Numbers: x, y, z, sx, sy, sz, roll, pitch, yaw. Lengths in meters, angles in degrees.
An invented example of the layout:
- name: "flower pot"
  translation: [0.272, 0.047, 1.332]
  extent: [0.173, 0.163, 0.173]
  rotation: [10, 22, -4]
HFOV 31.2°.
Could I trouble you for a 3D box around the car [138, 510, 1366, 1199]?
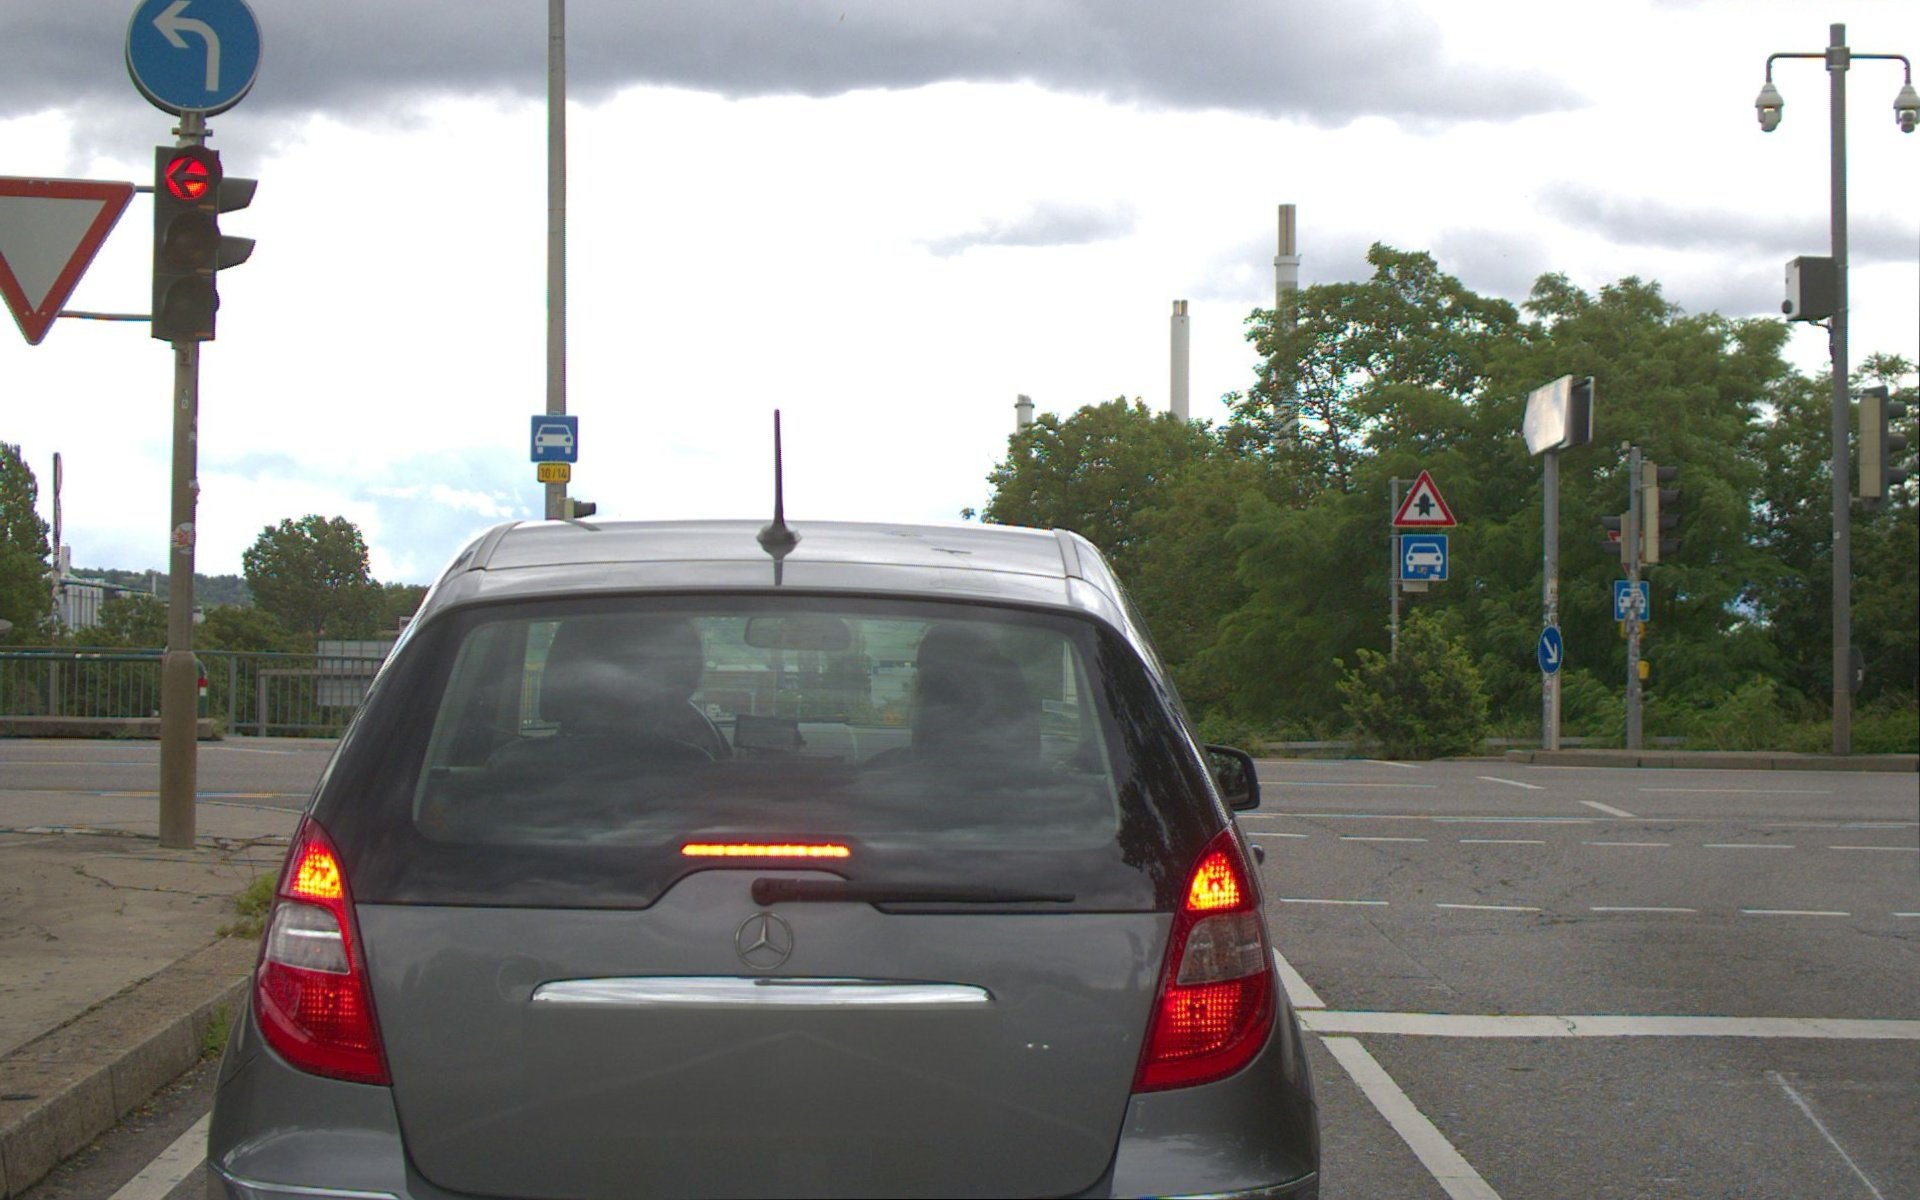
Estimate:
- name: "car"
  translation: [-0.314, 0.634, 6.677]
  extent: [1.739, 1.538, 3.541]
  rotation: [1, 1, 0]
